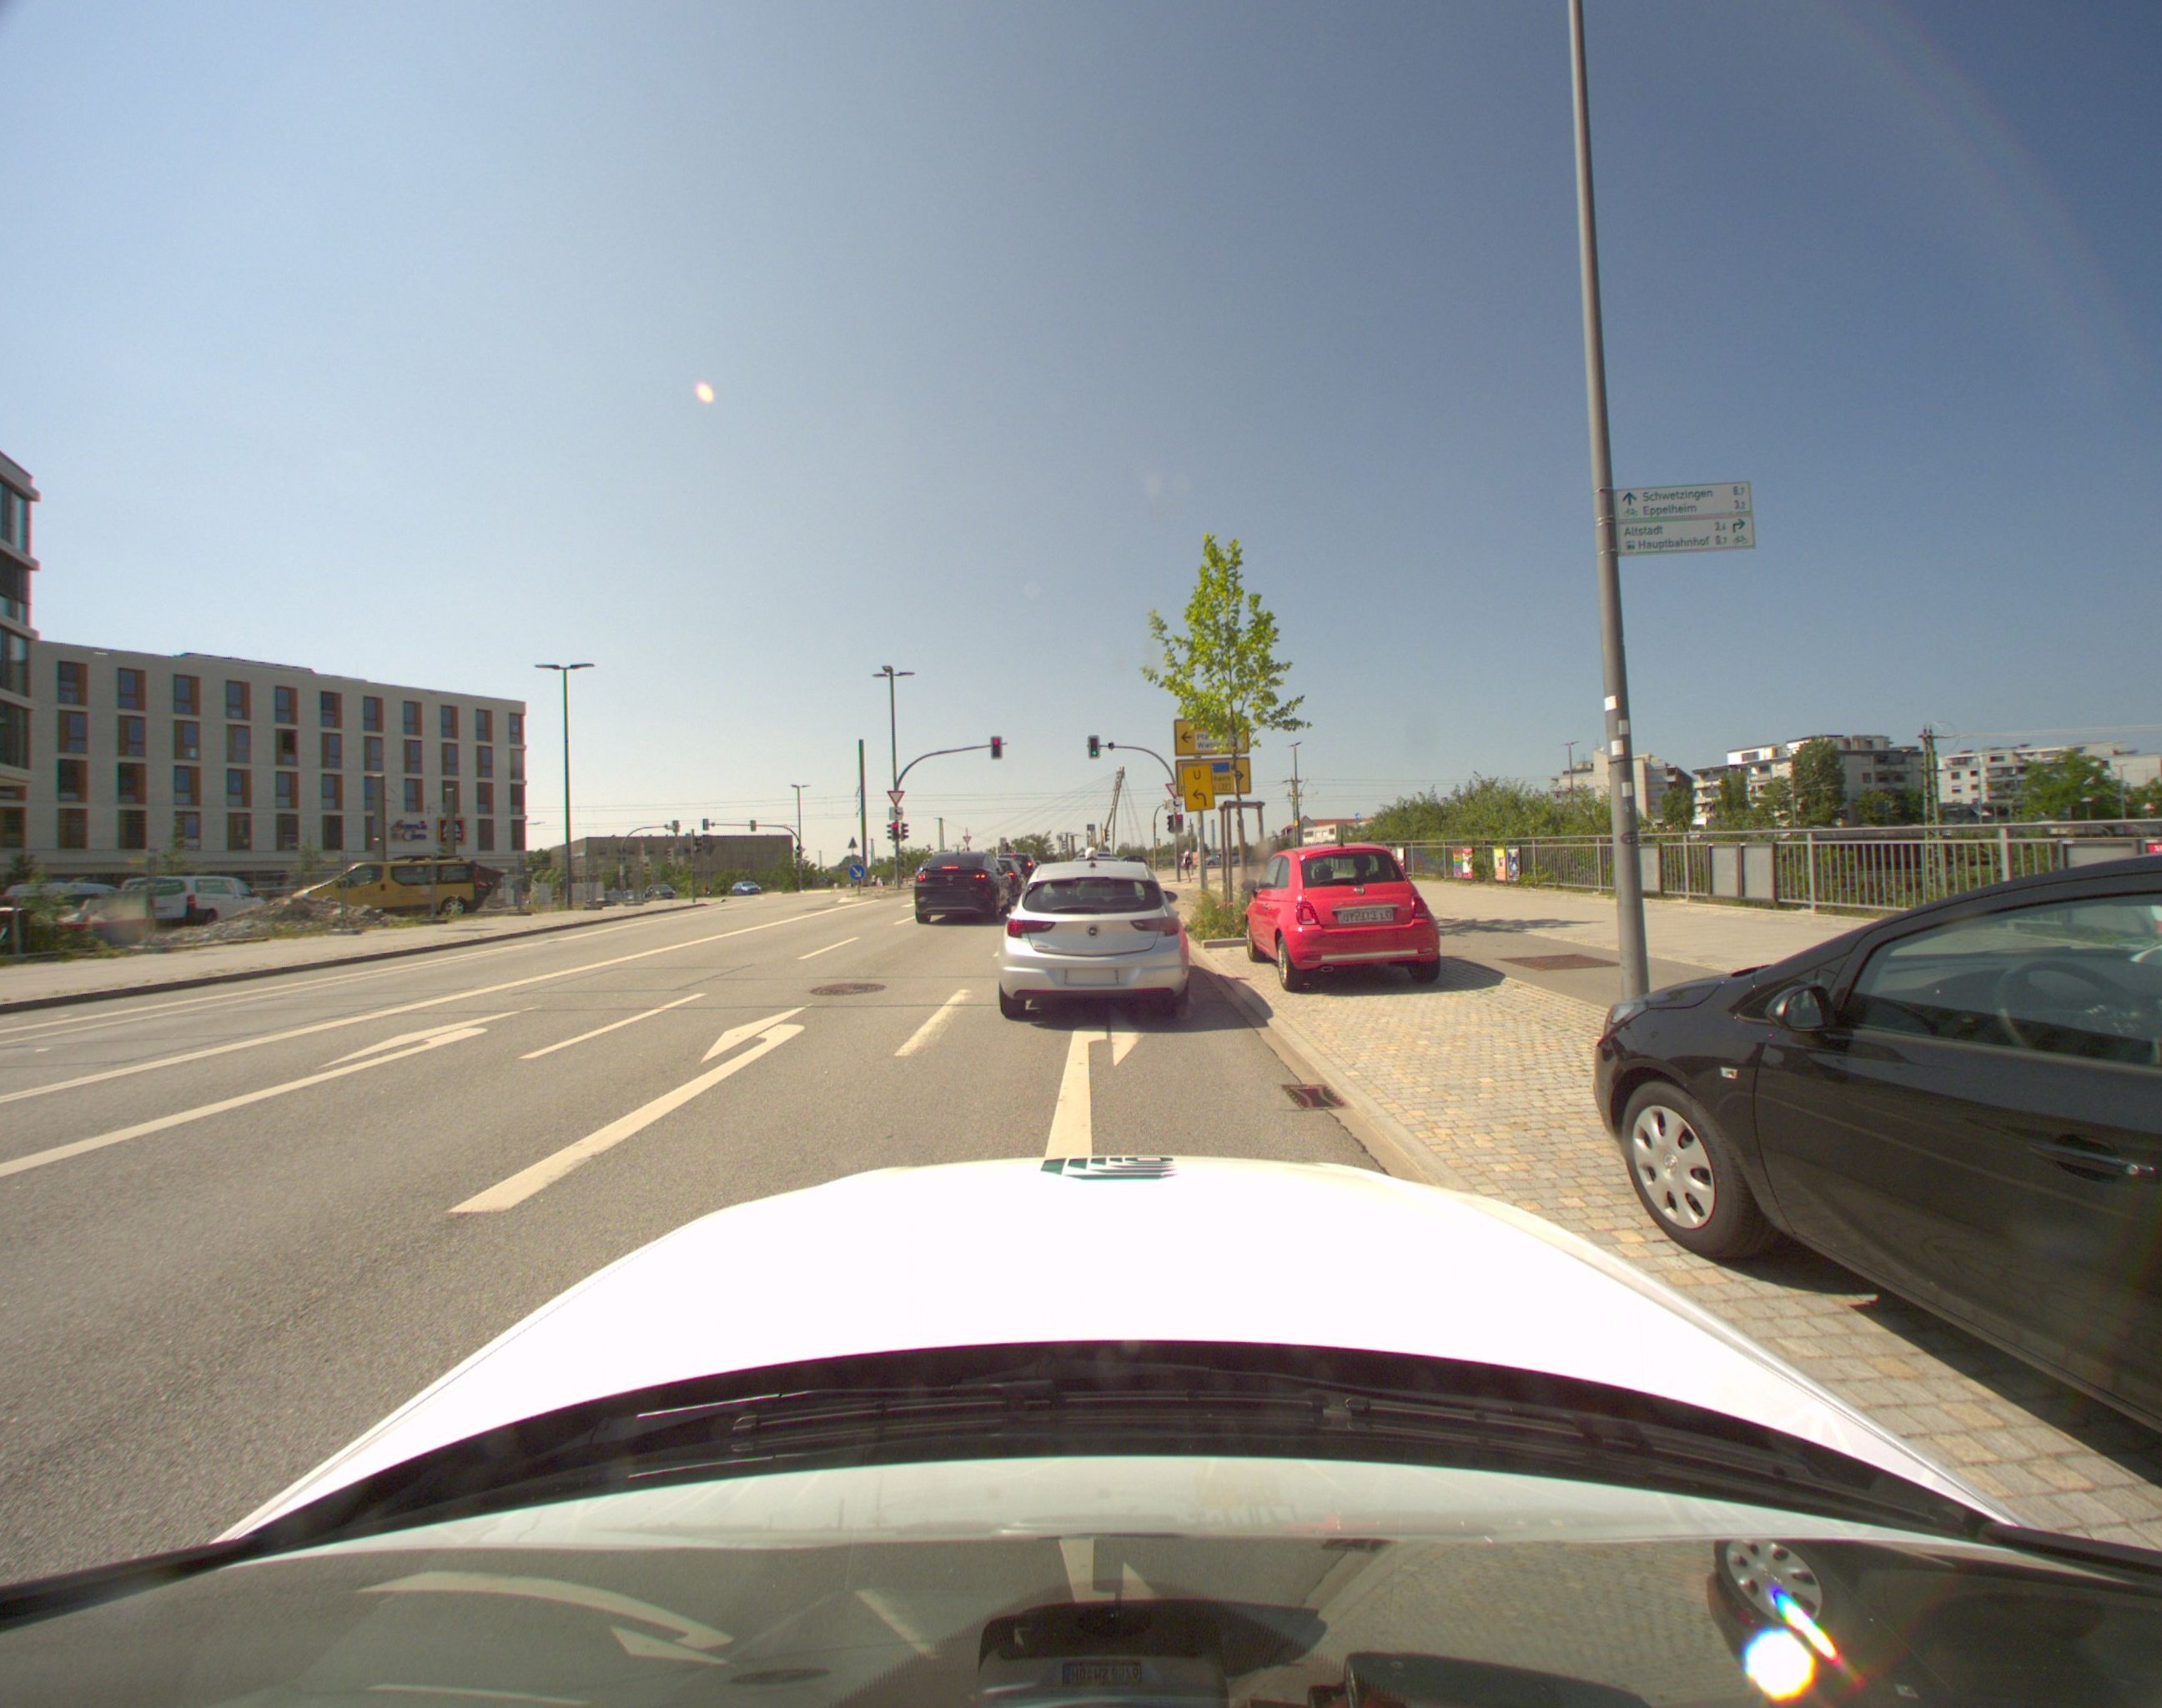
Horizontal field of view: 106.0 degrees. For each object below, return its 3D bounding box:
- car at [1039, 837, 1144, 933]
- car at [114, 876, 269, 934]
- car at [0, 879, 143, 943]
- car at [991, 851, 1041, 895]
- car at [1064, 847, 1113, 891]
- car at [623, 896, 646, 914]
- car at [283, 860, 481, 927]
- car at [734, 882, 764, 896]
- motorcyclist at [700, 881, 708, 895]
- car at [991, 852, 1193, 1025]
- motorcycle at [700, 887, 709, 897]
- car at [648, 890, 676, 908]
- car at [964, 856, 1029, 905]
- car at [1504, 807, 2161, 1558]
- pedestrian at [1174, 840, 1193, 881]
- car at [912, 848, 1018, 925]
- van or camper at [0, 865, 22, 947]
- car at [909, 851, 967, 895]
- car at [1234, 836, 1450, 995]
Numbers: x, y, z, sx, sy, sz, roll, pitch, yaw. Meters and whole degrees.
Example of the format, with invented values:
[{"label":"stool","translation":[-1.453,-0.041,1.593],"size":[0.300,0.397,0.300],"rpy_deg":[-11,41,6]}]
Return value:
[{"label":"car","translation":[0.271,0.568,17.763],"size":[1.986,1.820,4.404],"rpy_deg":[0,0,2]},{"label":"car","translation":[-31.080,1.702,28.677],"size":[1.873,1.774,4.619],"rpy_deg":[0,-1,-22]},{"label":"car","translation":[-33.669,1.829,27.215],"size":[1.795,1.857,3.815],"rpy_deg":[0,-1,-28]},{"label":"car","translation":[-2.497,0.725,32.055],"size":[1.644,1.615,3.819],"rpy_deg":[0,-1,0]},{"label":"car","translation":[0.349,0.518,31.011],"size":[1.717,1.563,4.002],"rpy_deg":[0,1,2]},{"label":"car","translation":[-44.254,4.992,80.709],"size":[1.578,1.587,3.441],"rpy_deg":[0,-1,-35]},{"label":"car","translation":[-22.628,1.202,26.519],"size":[1.964,1.962,4.655],"rpy_deg":[-1,-1,40]},{"label":"car","translation":[-33.122,3.488,81.177],"size":[1.831,1.331,3.954],"rpy_deg":[0,-2,-38]},{"label":"motorcyclist","translation":[-40.765,3.708,88.066],"size":[0.756,1.494,0.670],"rpy_deg":[0,-1,-36]},{"label":"car","translation":[0.074,0.742,9.047],"size":[1.738,1.478,3.998],"rpy_deg":[0,-1,-1]},{"label":"motorcycle","translation":[-40.685,4.106,87.949],"size":[0.523,0.955,1.913],"rpy_deg":[0,-1,-35]},{"label":"car","translation":[-38.479,4.119,74.801],"size":[1.686,1.476,3.368],"rpy_deg":[-2,0,-37]},{"label":"car","translation":[-2.607,0.800,25.863],"size":[1.569,1.434,3.786],"rpy_deg":[0,-1,1]},{"label":"car","translation":[2.867,0.593,1.927],"size":[1.654,1.426,4.001],"rpy_deg":[-3,-1,1]},{"label":"pedestrian","translation":[4.701,0.290,37.345],"size":[0.645,1.836,0.798],"rpy_deg":[-3,-1,0]},{"label":"car","translation":[-2.659,0.710,19.626],"size":[1.795,1.641,4.367],"rpy_deg":[0,-1,2]},{"label":"van or camper","translation":[-36.472,1.730,25.336],"size":[2.318,2.735,4.944],"rpy_deg":[0,-1,-26]},{"label":"car","translation":[-5.414,0.699,31.277],"size":[1.592,1.547,3.761],"rpy_deg":[0,-1,0]},{"label":"car","translation":[2.919,0.608,9.809],"size":[1.603,1.496,3.355],"rpy_deg":[-4,0,3]}]
